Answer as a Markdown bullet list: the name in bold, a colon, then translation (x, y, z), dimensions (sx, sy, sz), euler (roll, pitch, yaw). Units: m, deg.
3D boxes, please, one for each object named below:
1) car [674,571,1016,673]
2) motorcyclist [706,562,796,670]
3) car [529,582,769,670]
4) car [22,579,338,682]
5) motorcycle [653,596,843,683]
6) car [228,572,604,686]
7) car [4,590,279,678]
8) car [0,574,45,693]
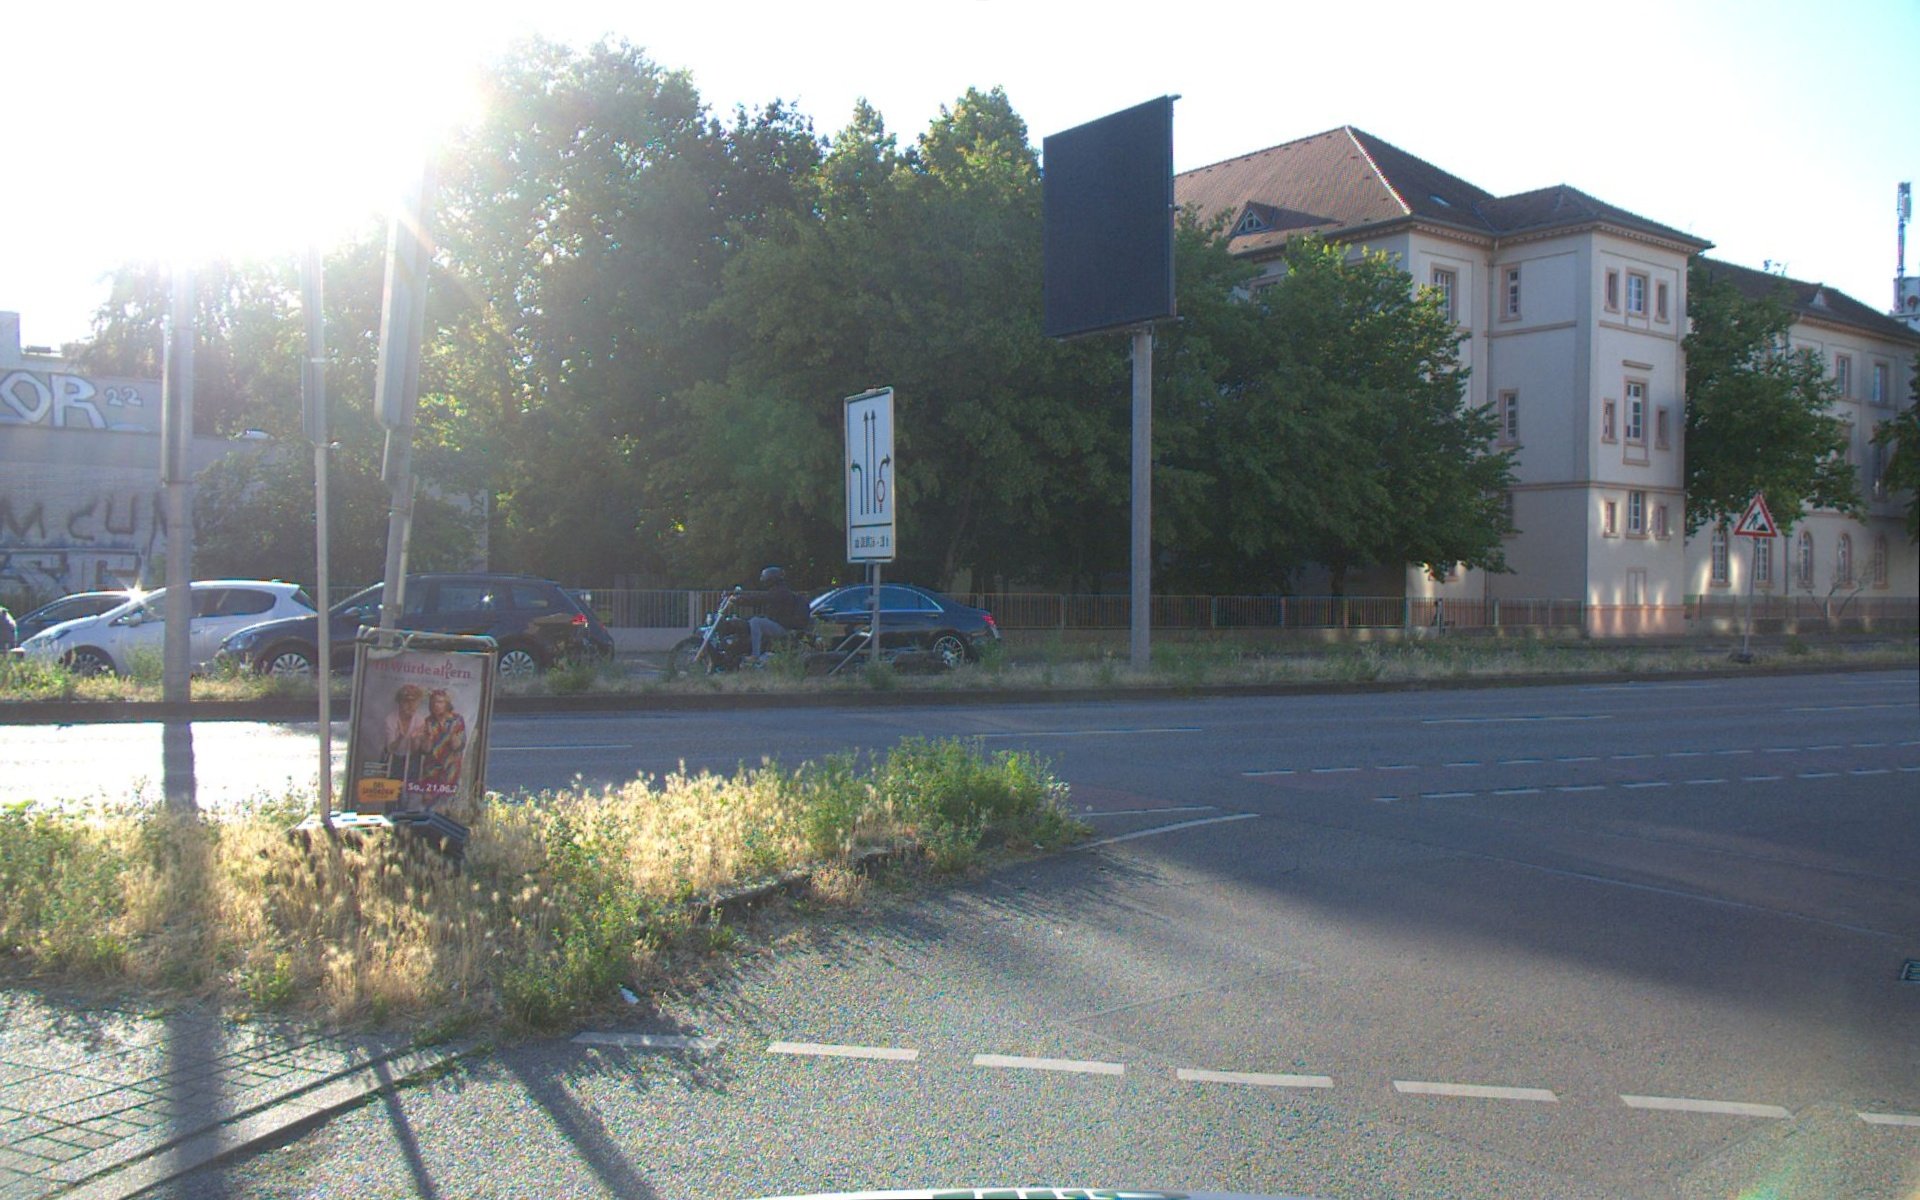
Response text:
- **car**: translation (-1.820, 0.331, 26.775), dimensions (5.214, 1.522, 1.982), euler (0, 0, -28)
- **motorcyclist**: translation (-2.836, 0.210, 22.399), dimensions (1.043, 1.422, 0.849), euler (0, 0, -22)
- **car**: translation (-5.636, 0.431, 30.050), dimensions (3.943, 1.489, 1.842), euler (0, 1, -29)
- **car**: translation (-10.746, 0.392, 23.016), dimensions (3.831, 1.342, 1.711), euler (0, 0, -24)
- **motorcycle**: translation (-2.861, 0.518, 22.367), dimensions (2.427, 1.127, 0.856), euler (0, 0, -22)
- **car**: translation (-6.765, 0.332, 20.703), dimensions (4.301, 1.319, 1.713), euler (0, 0, -22)
- **car**: translation (-12.991, 0.507, 26.497), dimensions (3.831, 1.319, 1.711), euler (0, 0, -24)
- **car**: translation (-12.747, 0.368, 18.473), dimensions (4.173, 1.319, 1.714), euler (0, 0, -21)
